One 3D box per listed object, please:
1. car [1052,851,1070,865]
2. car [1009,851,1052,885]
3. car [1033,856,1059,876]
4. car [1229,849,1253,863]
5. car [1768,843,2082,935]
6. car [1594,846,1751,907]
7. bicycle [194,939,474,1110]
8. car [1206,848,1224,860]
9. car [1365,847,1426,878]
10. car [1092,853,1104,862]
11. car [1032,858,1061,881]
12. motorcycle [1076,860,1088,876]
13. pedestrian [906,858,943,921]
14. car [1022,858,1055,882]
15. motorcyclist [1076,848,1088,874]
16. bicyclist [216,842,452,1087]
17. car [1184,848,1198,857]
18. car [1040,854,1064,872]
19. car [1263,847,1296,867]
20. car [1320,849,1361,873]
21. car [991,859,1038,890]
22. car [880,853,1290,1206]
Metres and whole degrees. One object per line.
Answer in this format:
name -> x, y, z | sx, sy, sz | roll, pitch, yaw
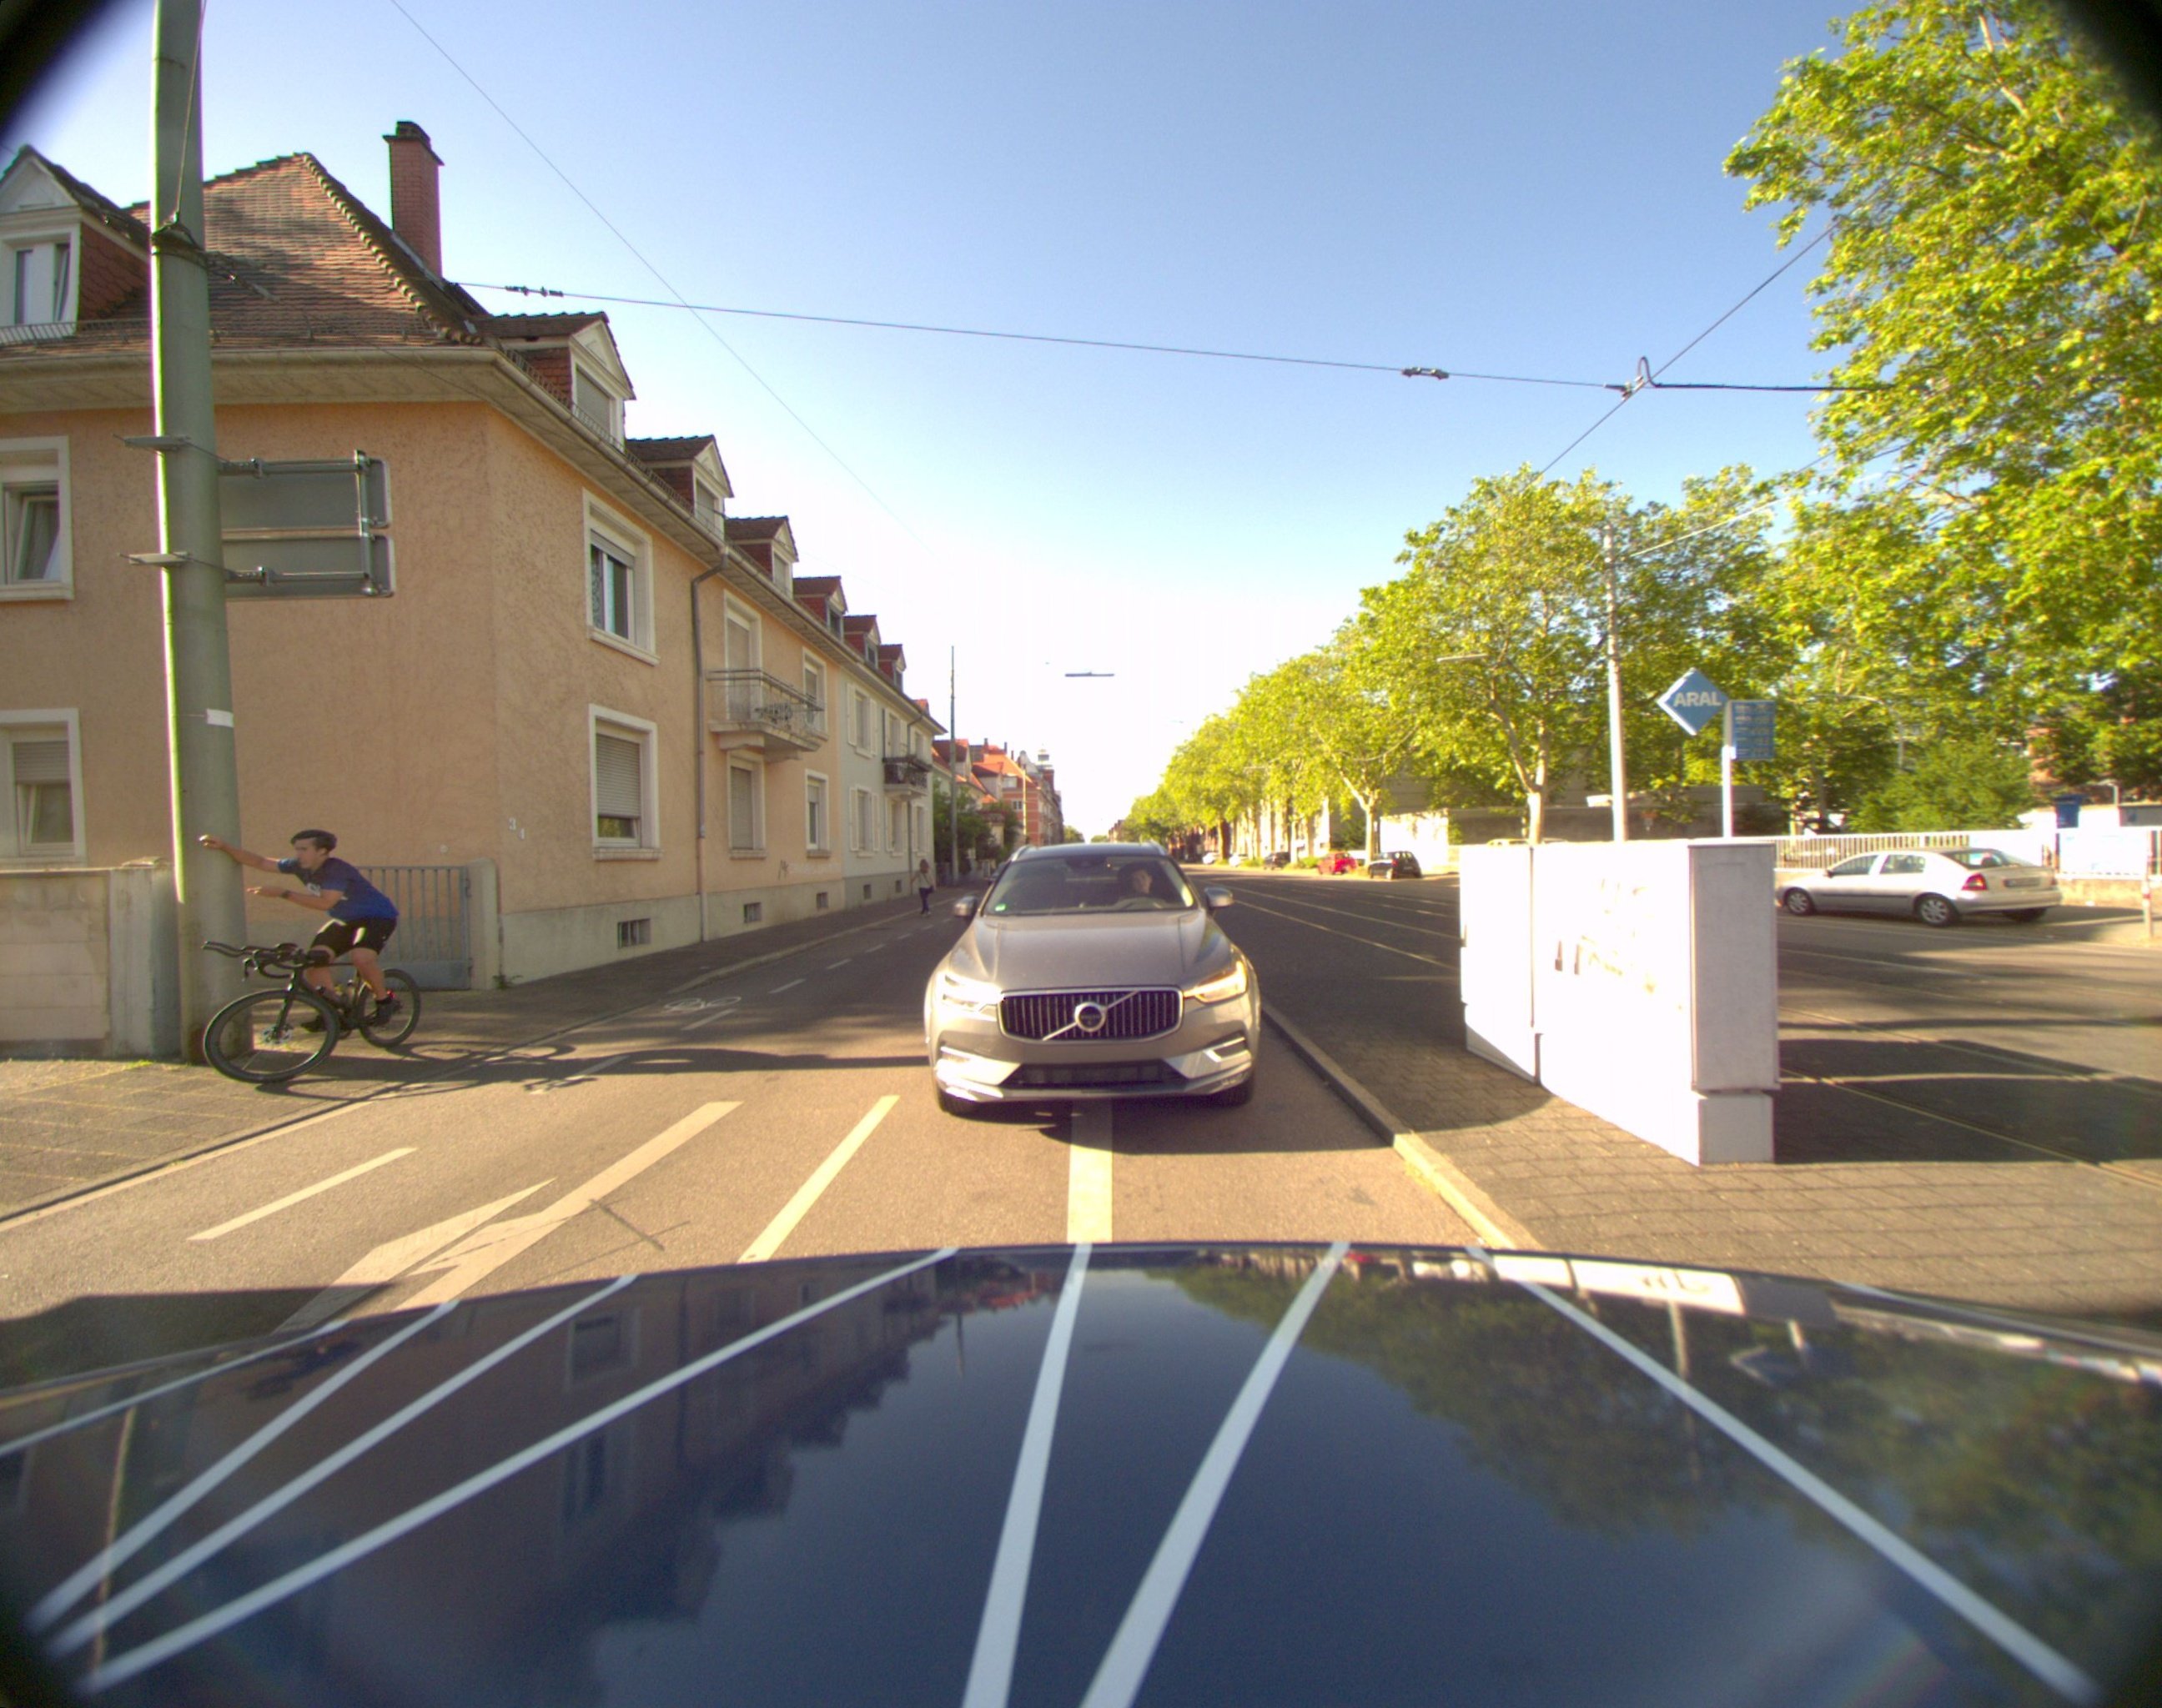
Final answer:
car -> -2.192, 0.441, 85.506 | 1.875, 1.477, 4.000 | -1, 0, 1
car -> -2.779, 0.708, 42.900 | 1.751, 1.767, 5.351 | -1, 0, 3
car -> -2.740, 0.937, 60.691 | 1.785, 1.468, 4.000 | -1, 0, 1
car -> 17.558, 0.214, 83.441 | 1.802, 1.489, 4.000 | -1, 0, 1
car -> 16.254, 0.593, 15.005 | 1.795, 1.455, 3.966 | -4, 0, 2
car -> 16.440, 0.571, 21.354 | 1.692, 1.455, 3.519 | -4, 0, 2
bicycle -> -5.935, 1.297, 6.191 | 0.572, 0.986, 1.698 | 2, 0, 1
car -> 17.746, -0.019, 100.685 | 1.802, 1.504, 4.000 | -1, 0, 1
car -> 16.892, 0.417, 40.994 | 1.826, 1.521, 3.653 | -2, 0, 1
car -> 3.029, 0.649, 134.880 | 1.998, 1.543, 4.000 | -1, 0, 1
car -> -2.456, 1.077, 54.454 | 1.785, 1.468, 4.000 | -1, 0, 1
motorcycle -> 0.085, 0.983, 55.164 | 0.792, 1.095, 2.519 | 0, 0, 1
pedestrian -> -4.331, 0.955, 21.048 | 0.694, 1.652, 1.098 | -2, 1, 2
car -> -2.673, 0.984, 48.319 | 1.785, 1.346, 4.000 | -1, 0, 1
motorcyclist -> 0.084, 0.485, 55.082 | 0.827, 1.832, 1.159 | -2, 1, 1
bicyclist -> -6.139, 0.856, 6.306 | 1.076, 1.854, 0.846 | 2, 1, 1
car -> 18.210, -0.230, 125.642 | 1.802, 1.504, 4.000 | -1, 0, 1
car -> -2.550, 0.759, 66.844 | 1.875, 1.477, 4.000 | -1, 0, 1
car -> 17.206, 0.279, 66.055 | 1.802, 1.652, 4.000 | -1, 0, 1
car -> 16.953, 0.429, 49.764 | 1.641, 1.499, 3.046 | -1, 0, 1
car -> -3.201, 0.957, 37.041 | 1.647, 1.357, 3.868 | -1, 0, 4
car -> 0.049, 0.846, 5.816 | 1.940, 1.650, 4.321 | -1, 0, 1
